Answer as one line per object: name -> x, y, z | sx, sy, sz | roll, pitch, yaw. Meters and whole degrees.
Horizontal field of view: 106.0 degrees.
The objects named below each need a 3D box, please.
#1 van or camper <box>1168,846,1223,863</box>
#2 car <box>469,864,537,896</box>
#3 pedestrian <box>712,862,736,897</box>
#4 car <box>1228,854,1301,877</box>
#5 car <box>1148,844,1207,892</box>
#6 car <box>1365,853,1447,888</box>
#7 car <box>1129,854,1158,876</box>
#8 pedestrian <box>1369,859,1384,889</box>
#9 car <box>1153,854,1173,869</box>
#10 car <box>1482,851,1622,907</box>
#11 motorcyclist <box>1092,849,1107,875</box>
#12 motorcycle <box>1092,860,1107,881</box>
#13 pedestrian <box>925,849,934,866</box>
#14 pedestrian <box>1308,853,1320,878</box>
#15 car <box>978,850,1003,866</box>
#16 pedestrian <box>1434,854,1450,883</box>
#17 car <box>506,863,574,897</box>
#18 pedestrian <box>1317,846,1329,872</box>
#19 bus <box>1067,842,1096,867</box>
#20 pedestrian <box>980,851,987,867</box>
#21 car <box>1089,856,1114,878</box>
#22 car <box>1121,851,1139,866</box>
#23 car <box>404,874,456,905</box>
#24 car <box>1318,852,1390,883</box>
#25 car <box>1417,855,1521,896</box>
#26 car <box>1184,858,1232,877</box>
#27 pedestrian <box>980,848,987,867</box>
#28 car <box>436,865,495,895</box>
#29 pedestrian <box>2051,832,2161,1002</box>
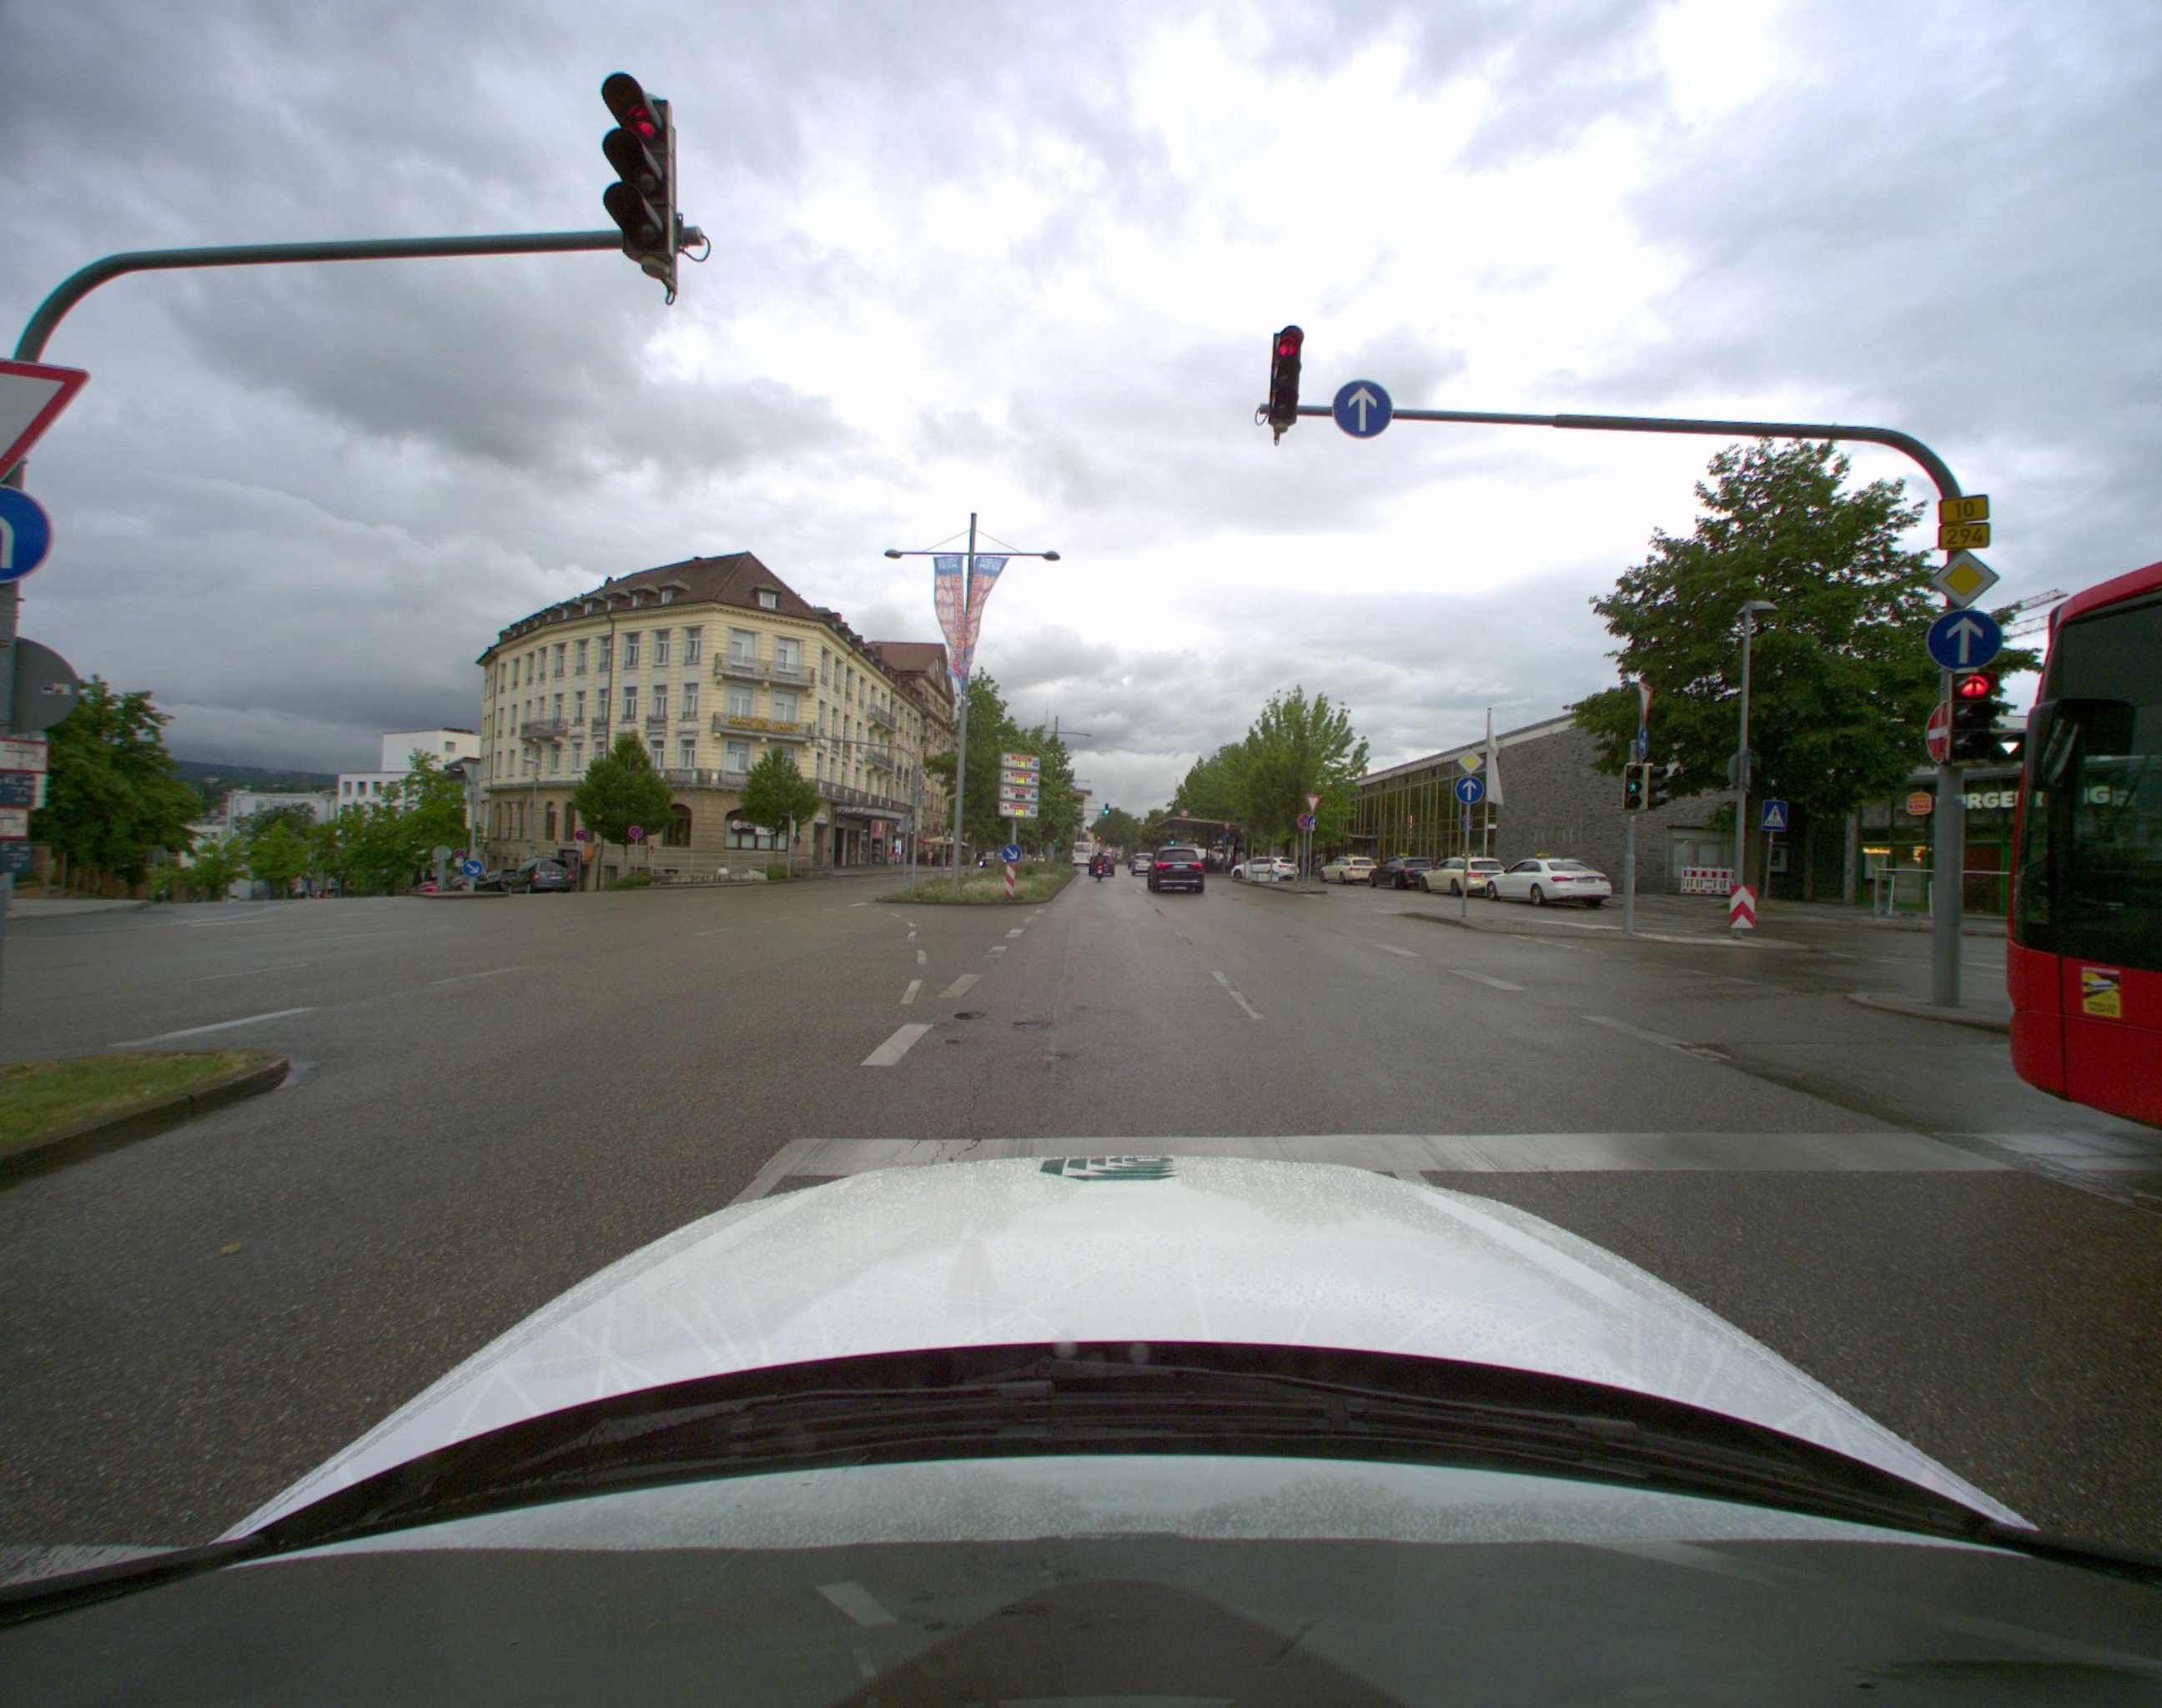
van or camper -> 14.488, 0.066, 102.828 | 6.787, 2.014, 2.366 | 0, -1, -25
car -> -32.008, 1.410, 45.068 | 3.948, 1.640, 2.013 | -1, -1, 37
pedestrian -> -19.696, 1.391, 44.957 | 0.860, 1.878, 1.023 | 0, 0, 1
car -> 11.434, 0.709, 50.913 | 1.788, 1.385, 4.318 | 0, 0, -39
car -> 3.840, 0.530, 33.101 | 1.986, 1.806, 4.691 | 0, 0, 2
car -> 14.882, 0.708, 37.609 | 1.907, 1.524, 4.741 | 0, 0, 0
car -> 4.439, 0.765, 58.108 | 1.844, 1.567, 4.001 | 0, 0, 2
pedestrian -> 17.153, 1.145, 47.290 | 0.563, 1.710, 0.715 | 0, 0, -3
car -> 8.552, 0.743, 85.383 | 1.809, 1.530, 4.001 | 0, 0, 2
car -> 14.645, 0.720, 25.664 | 1.768, 1.589, 4.615 | 0, 0, 0
motorcyclist -> 1.002, 0.429, 43.210 | 0.761, 1.331, 0.867 | 0, 0, 2
motorcycle -> 1.001, 0.849, 43.130 | 0.763, 1.077, 2.176 | 0, 0, 2
pedestrian -> -13.729, 0.347, 73.890 | 0.666, 1.510, 0.513 | 0, 0, -36
pedestrian -> 19.009, 0.910, 66.379 | 0.767, 2.014, 0.828 | 0, 0, 0
car -> -8.589, 0.377, 77.684 | 1.764, 1.530, 4.081 | 0, 0, 3
pedestrian -> 20.547, 0.824, 46.360 | 0.563, 1.646, 0.715 | 0, 0, -3
car -> -27.104, 1.267, 40.773 | 3.949, 1.568, 1.812 | 0, 0, 41
pedestrian -> 21.804, 0.447, 73.348 | 0.839, 2.411, 0.863 | 0, 0, 3
bus -> 0.098, 0.079, 113.760 | 3.748, 3.209, 15.525 | 0, 0, 0
pedestrian -> -10.654, 0.571, 88.777 | 0.672, 1.701, 0.634 | 0, 0, 1
car -> 1.416, 0.859, 55.930 | 1.702, 1.448, 4.001 | 0, 0, 2
car -> 5.045, 0.463, 84.633 | 1.702, 1.474, 4.001 | 0, 0, 2
car -> -41.192, 2.203, 51.494 | 3.575, 1.812, 1.788 | 0, 0, 38
car -> 14.678, 0.709, 44.103 | 1.990, 1.600, 4.814 | 0, 0, -5
car -> 14.783, 0.785, 31.321 | 1.840, 1.452, 4.666 | 0, 0, 0
car -> 12.814, 1.373, 82.146 | 4.348, 1.857, 1.988 | 0, 0, -18
pedestrian -> -10.560, 0.377, 88.452 | 0.756, 2.014, 0.832 | 0, 0, -5
car -> -36.316, 1.487, 48.034 | 3.864, 1.640, 1.805 | 0, 0, 37
pedestrian -> 10.817, 0.621, 8.499 | 0.715, 1.674, 0.802 | 0, 0, -33
